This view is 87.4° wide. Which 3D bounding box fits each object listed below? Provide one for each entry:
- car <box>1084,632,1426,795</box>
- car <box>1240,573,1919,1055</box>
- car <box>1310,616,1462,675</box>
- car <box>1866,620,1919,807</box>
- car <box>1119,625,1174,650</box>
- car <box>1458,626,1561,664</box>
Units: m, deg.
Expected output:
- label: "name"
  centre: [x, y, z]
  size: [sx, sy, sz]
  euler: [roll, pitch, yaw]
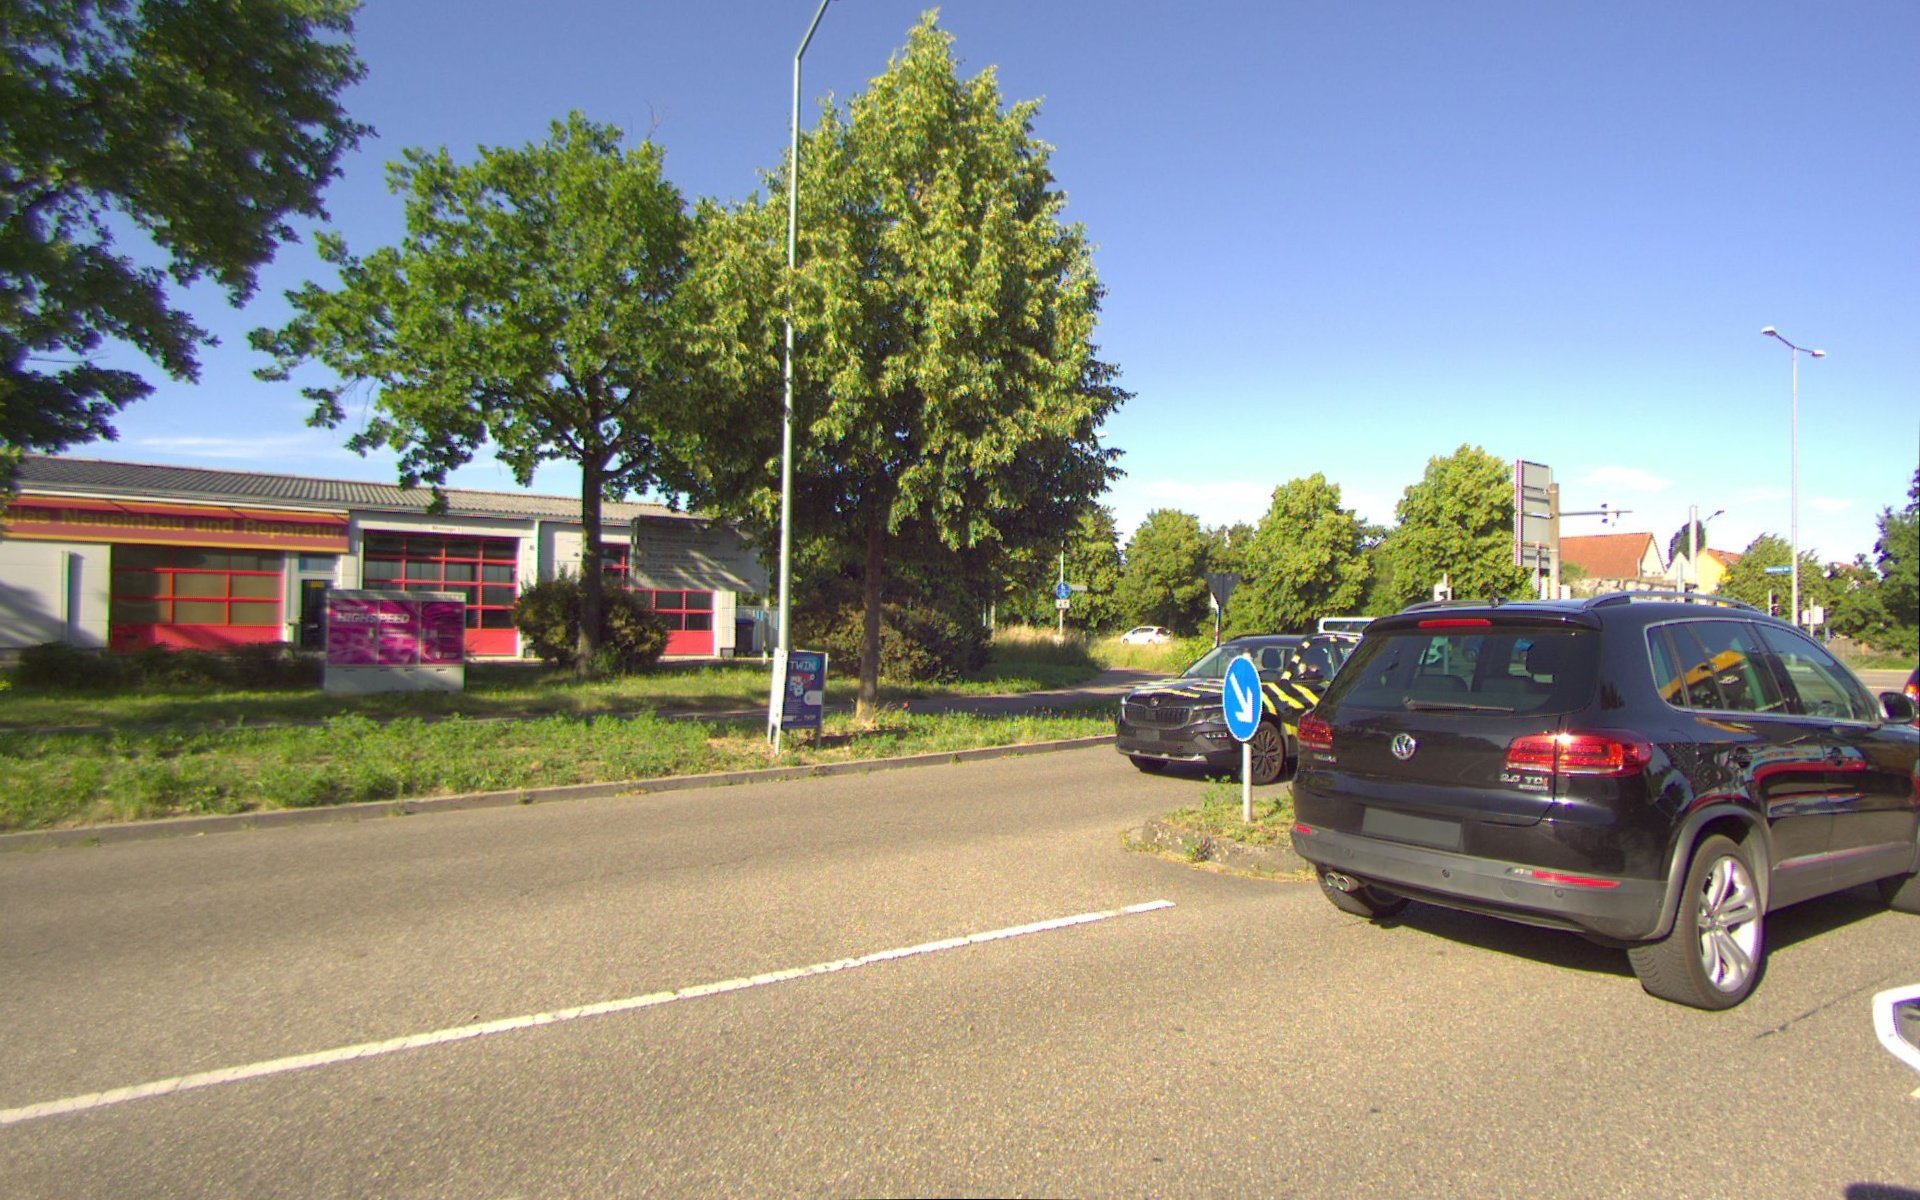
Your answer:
- label: "car"
  centre: [3.469, 1.169, 11.510]
  size: [4.044, 1.546, 1.750]
  euler: [2, -3, -38]
- label: "car"
  centre: [3.549, 0.823, 5.305]
  size: [3.954, 1.675, 1.763]
  euler: [1, -3, -31]
- label: "car"
  centre: [17.179, 1.778, 40.794]
  size: [2.160, 2.146, 5.350]
  euler: [2, -1, -35]
- label: "car"
  centre: [10.227, 0.998, 9.207]
  size: [3.954, 1.610, 1.753]
  euler: [1, -3, -31]
- label: "car"
  centre: [13.456, 2.685, 72.696]
  size: [1.691, 1.634, 3.781]
  euler: [2, 0, -35]
- label: "car"
  centre: [23.751, 1.914, 43.489]
  size: [1.733, 1.581, 3.559]
  euler: [2, -2, -35]
